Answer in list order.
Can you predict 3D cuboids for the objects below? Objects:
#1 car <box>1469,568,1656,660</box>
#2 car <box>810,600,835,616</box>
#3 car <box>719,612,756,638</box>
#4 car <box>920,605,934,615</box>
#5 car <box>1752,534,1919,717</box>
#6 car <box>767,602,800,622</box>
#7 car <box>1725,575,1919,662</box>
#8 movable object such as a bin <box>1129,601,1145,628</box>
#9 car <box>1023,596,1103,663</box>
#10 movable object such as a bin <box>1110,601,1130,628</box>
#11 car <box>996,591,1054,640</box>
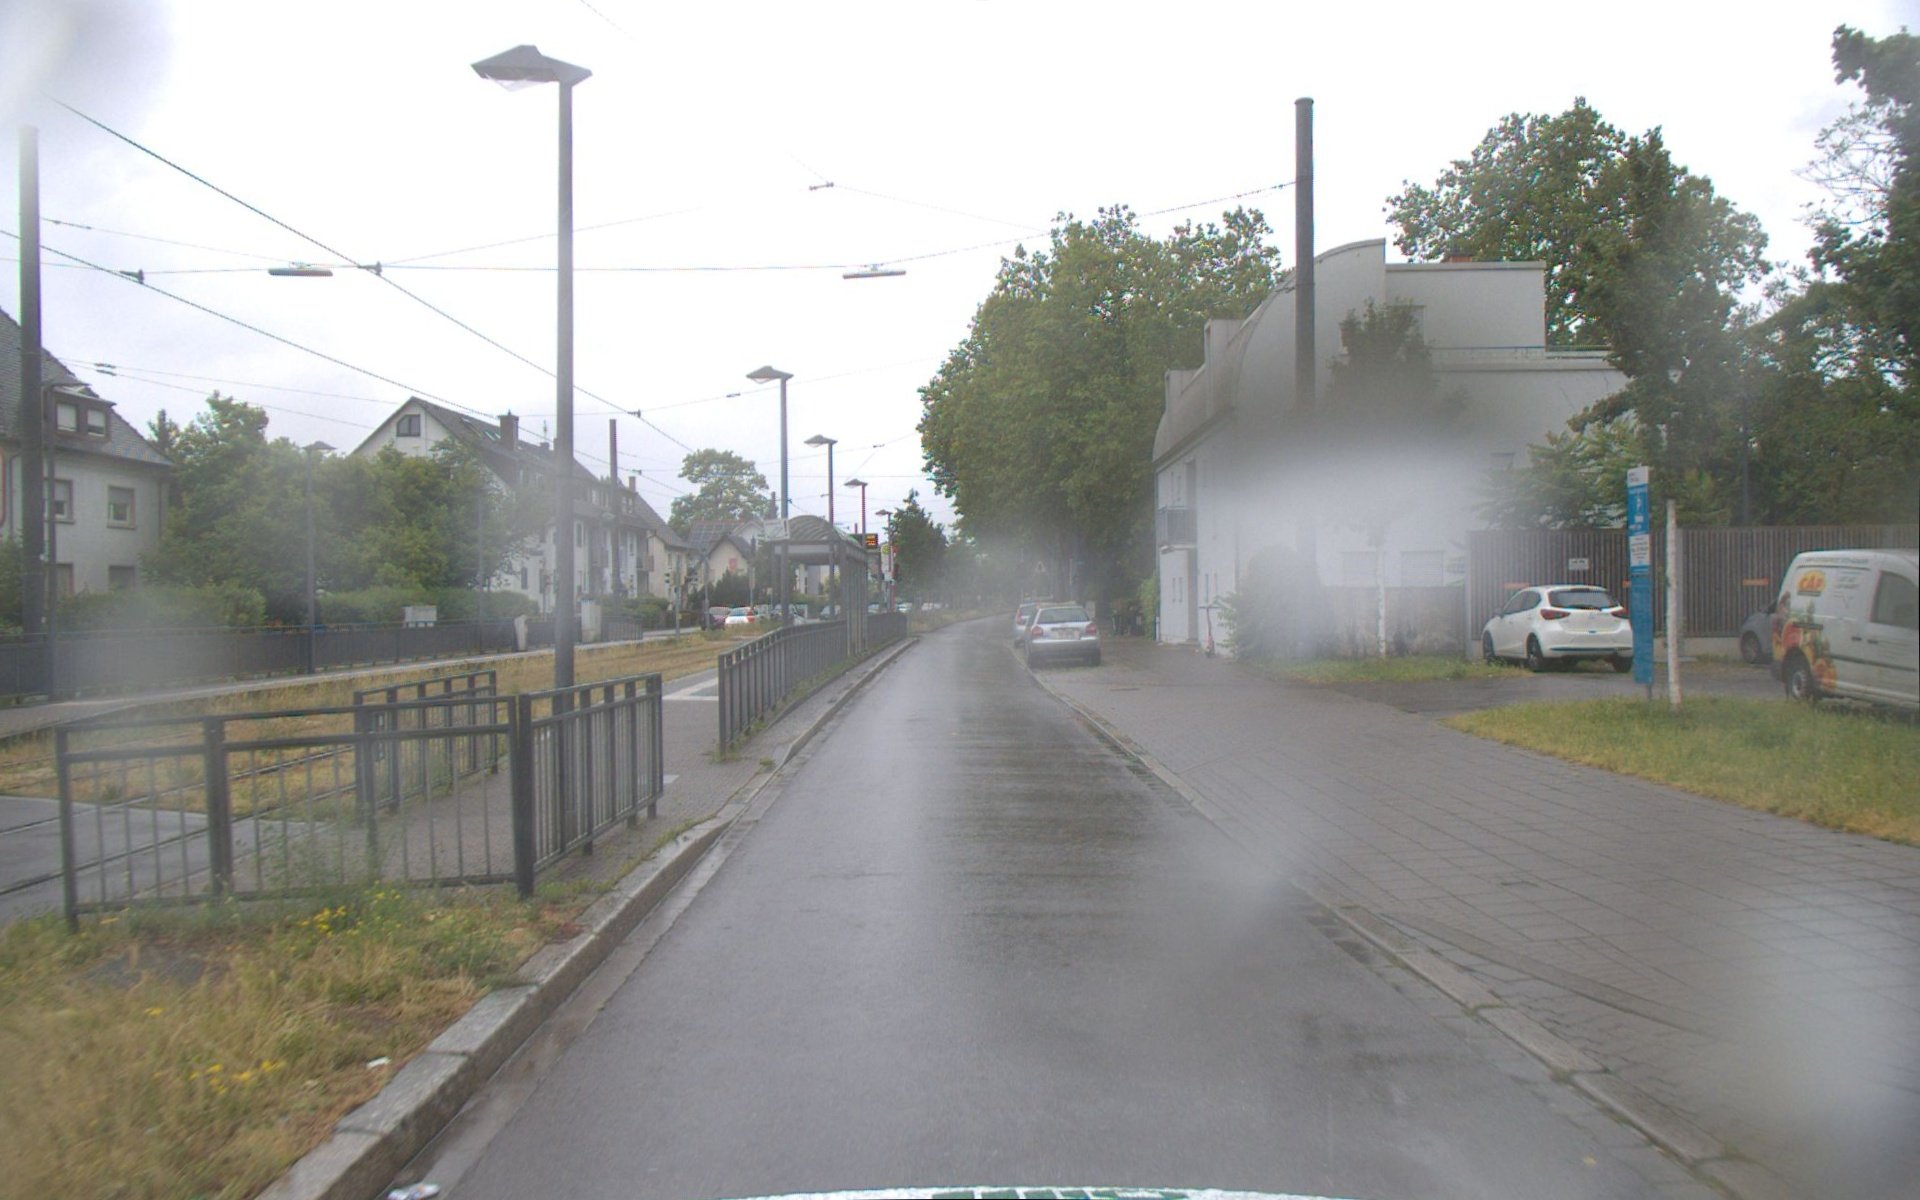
[{"bbox_3d":[10.848,0.206,30.138,1.922,1.561,4.365,0,1,2],"label":"car"},{"bbox_3d":[-13.190,0.792,158.627,1.888,1.512,4.001,0,-1,3],"label":"car"},{"bbox_3d":[-13.489,1.500,100.319,1.599,1.519,4.000,0,-1,1],"label":"car"},{"bbox_3d":[-5.125,1.507,257.301,1.888,1.512,4.001,0,-1,3],"label":"car"},{"bbox_3d":[10.523,0.240,17.620,1.922,1.815,4.898,0,1,1],"label":"car"},{"bbox_3d":[-13.764,0.918,129.272,1.888,1.512,4.001,0,-1,3],"label":"car"},{"bbox_3d":[15.843,0.289,30.133,1.925,1.472,3.661,0,1,-5],"label":"car"},{"bbox_3d":[6.971,0.566,65.126,0.525,1.039,0.738,-3,-1,0],"label":"movable object such as a bin"},{"bbox_3d":[2.456,0.702,40.421,1.616,1.430,4.649,-4,-1,0],"label":"car"},{"bbox_3d":[6.369,0.567,65.804,0.678,1.039,0.824,-3,-1,-1],"label":"movable object such as a bin"},{"bbox_3d":[2.182,0.536,56.098,1.770,1.493,3.794,-4,-1,0],"label":"car"}]
